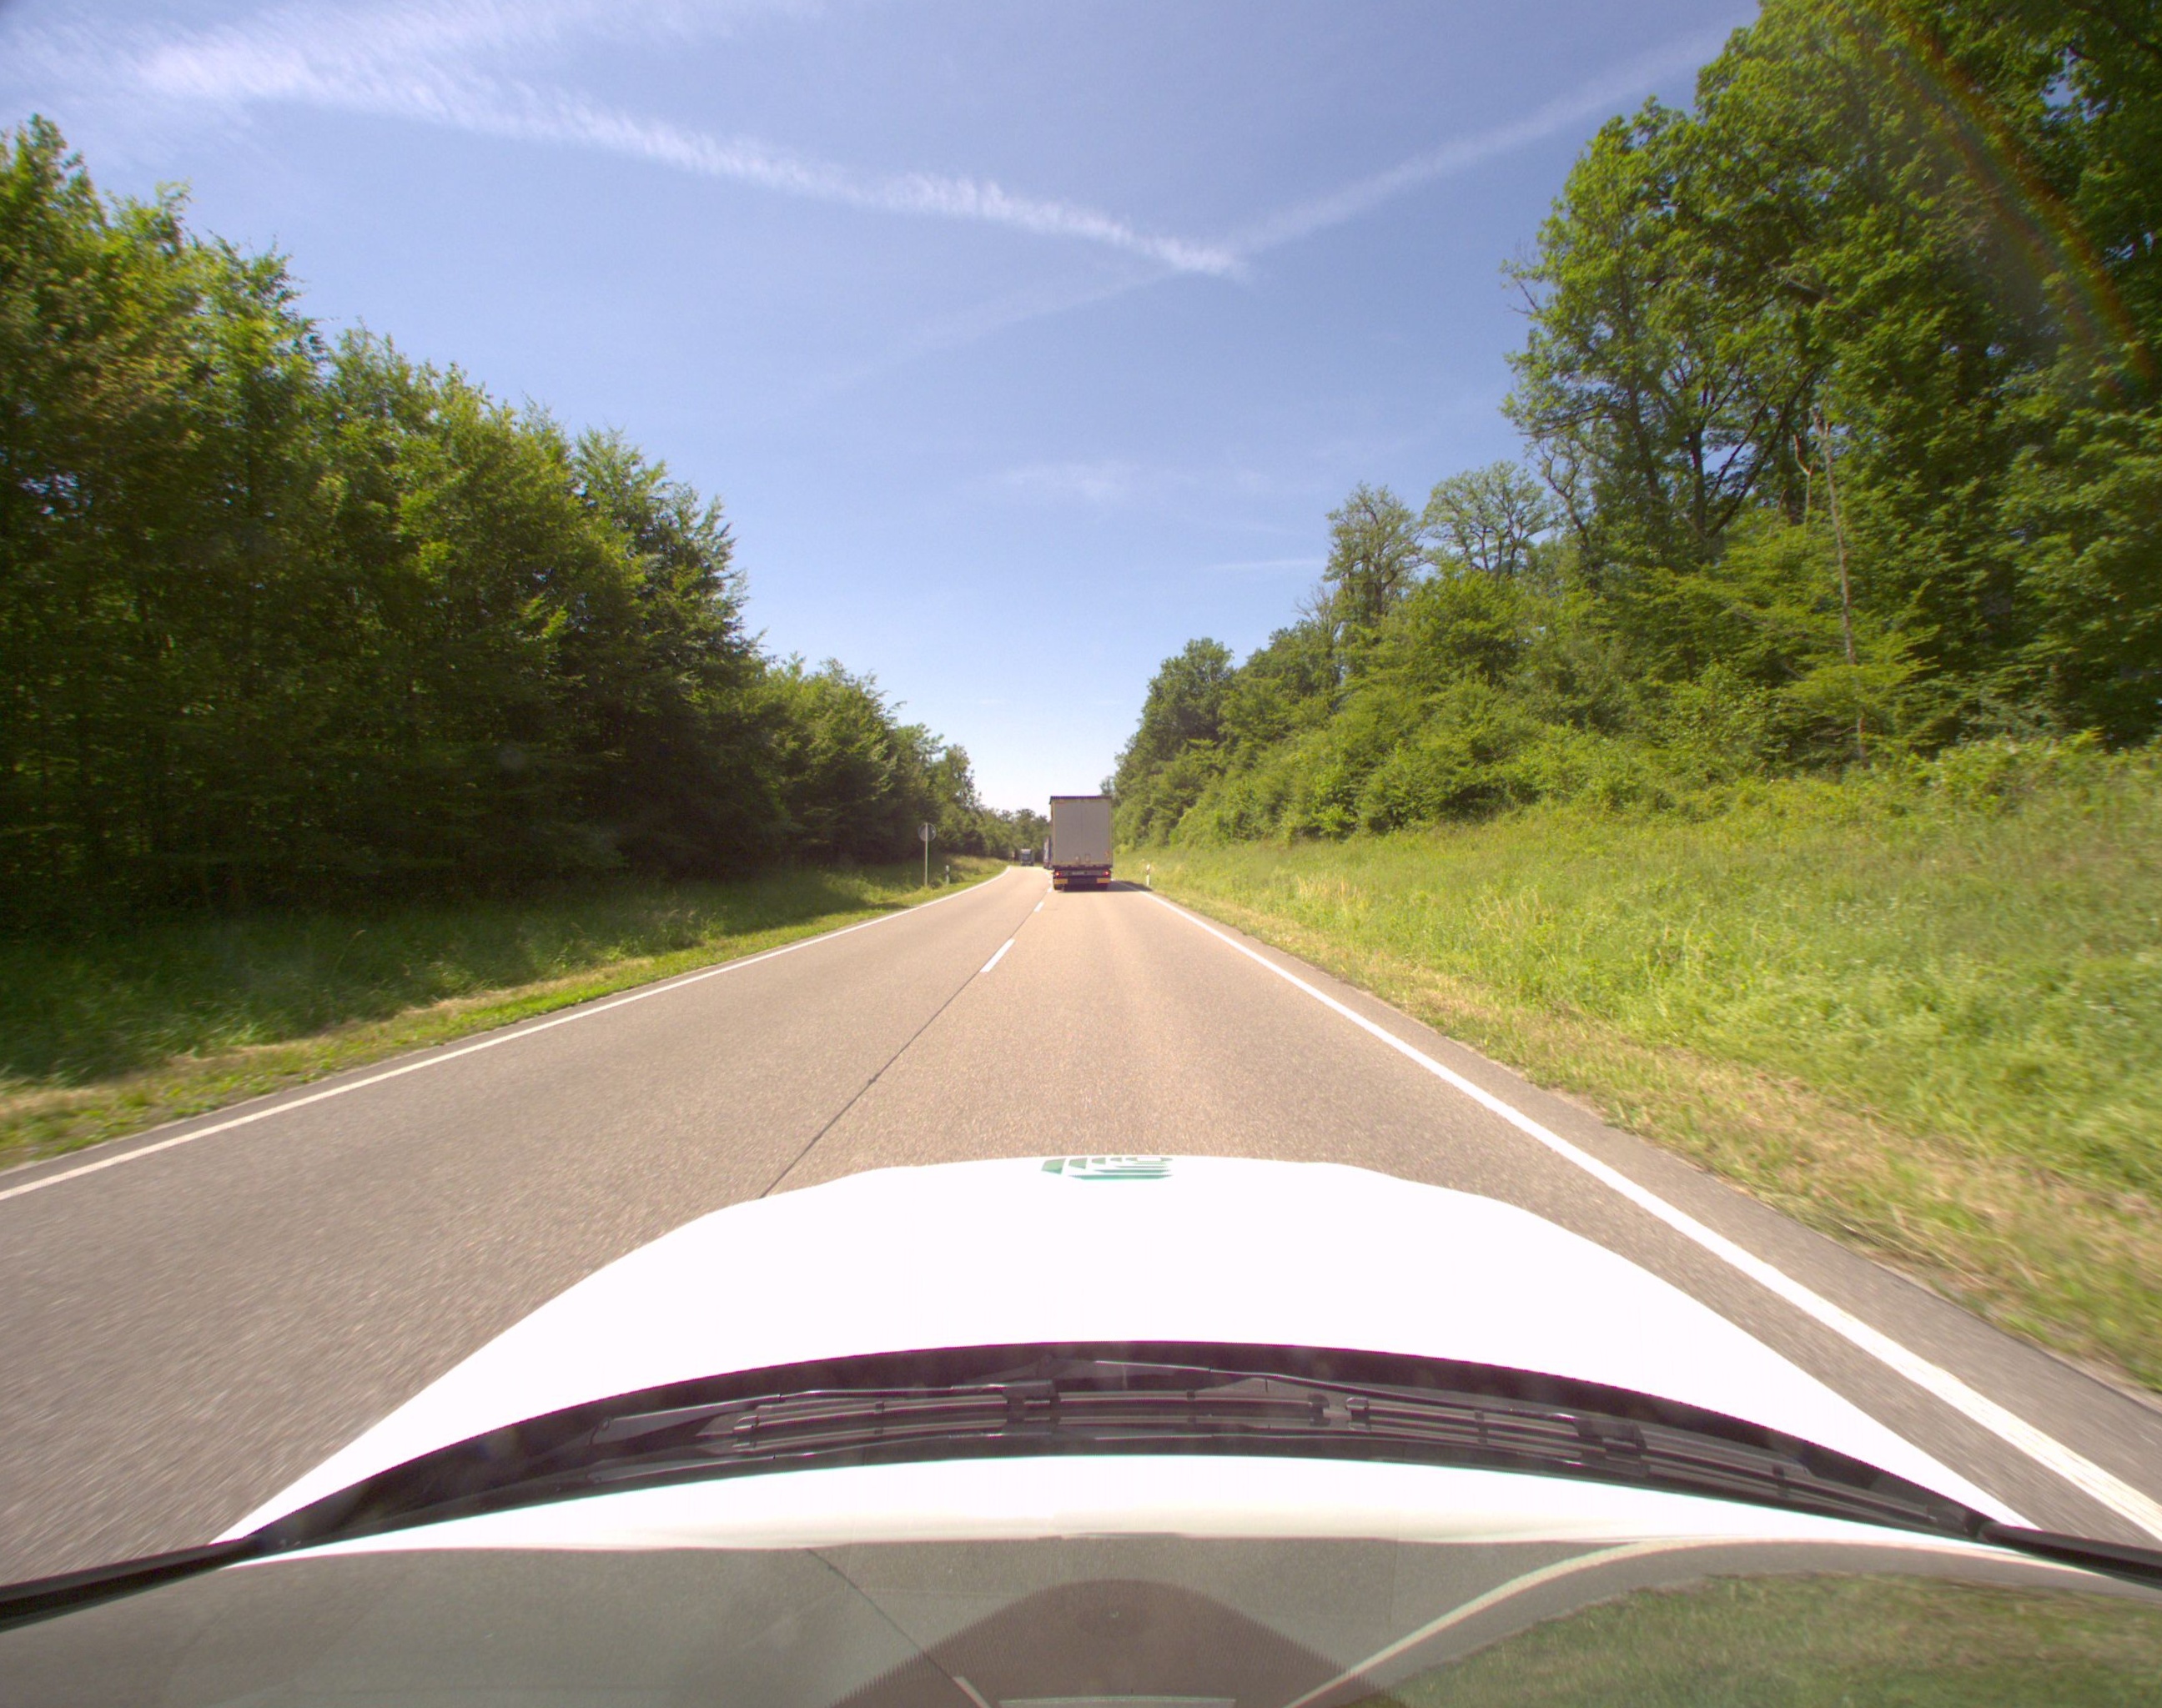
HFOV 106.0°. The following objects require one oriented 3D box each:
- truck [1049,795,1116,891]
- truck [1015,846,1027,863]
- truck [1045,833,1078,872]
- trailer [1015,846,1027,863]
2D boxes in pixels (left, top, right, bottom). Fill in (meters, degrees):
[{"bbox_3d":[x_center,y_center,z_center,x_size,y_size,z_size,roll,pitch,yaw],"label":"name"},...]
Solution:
[{"bbox_3d":[-0.072,-0.456,39.617,2.753,3.947,12.190,0,0,-1],"label":"truck"},{"bbox_3d":[-15.298,0.156,208.557,2.918,4.216,5.334,-2,0,-5],"label":"truck"},{"bbox_3d":[-2.498,-0.070,100.264,3.784,4.373,14.906,1,-1,-2],"label":"truck"},{"bbox_3d":[-15.816,0.165,214.992,2.937,4.252,13.596,-2,0,-5],"label":"trailer"}]
